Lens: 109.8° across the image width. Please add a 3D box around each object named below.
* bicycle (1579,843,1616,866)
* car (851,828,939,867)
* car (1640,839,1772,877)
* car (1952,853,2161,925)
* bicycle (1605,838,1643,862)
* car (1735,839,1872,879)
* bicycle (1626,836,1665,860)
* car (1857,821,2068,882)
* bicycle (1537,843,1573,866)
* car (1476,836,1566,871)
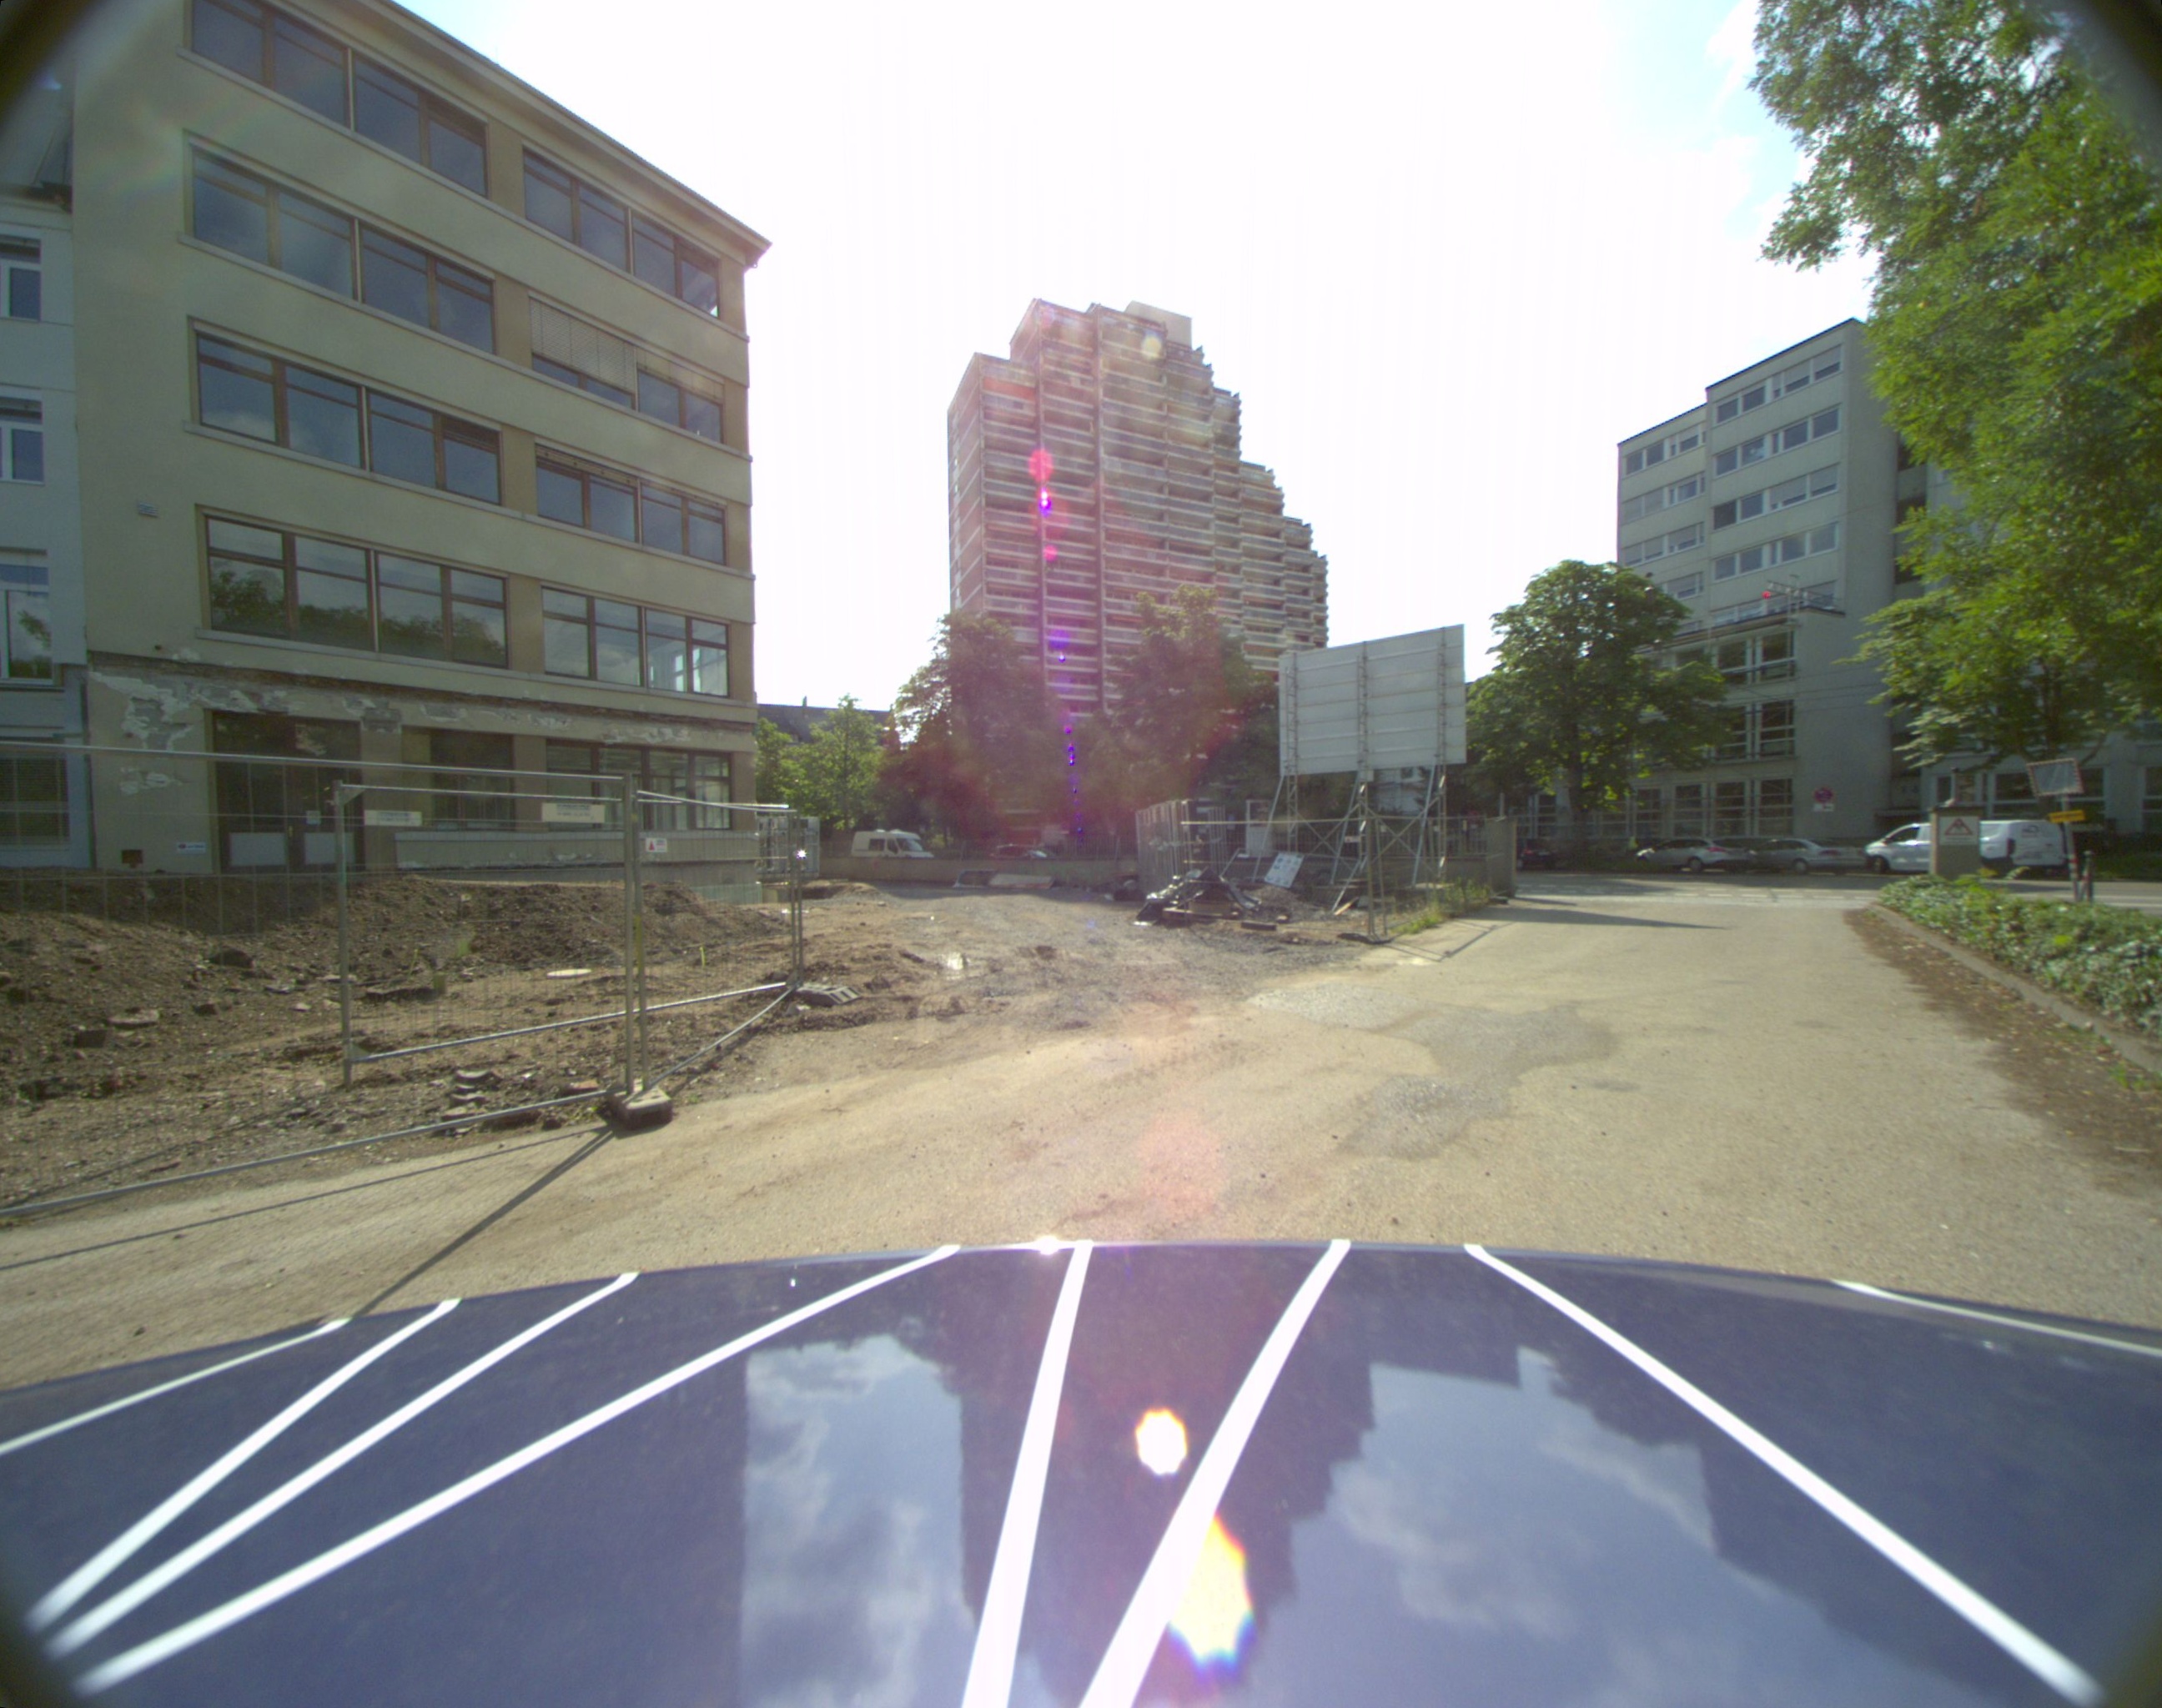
[{"bbox_3d":[27.803,0.018,40.893,2.057,1.080,0.496,-5,0,-20],"label":"bicycle"},{"bbox_3d":[-10.217,-0.360,41.485,5.293,2.002,2.004,0,1,42],"label":"car"},{"bbox_3d":[26.183,0.191,32.039,1.783,1.455,4.234,1,-1,-6],"label":"car"},{"bbox_3d":[33.170,1.065,25.773,1.902,1.986,4.572,-5,1,-1],"label":"car"},{"bbox_3d":[28.258,-0.211,39.521,2.057,1.080,0.496,-5,0,-20],"label":"bicycle"},{"bbox_3d":[28.438,0.177,30.099,1.725,1.467,3.782,0,0,-3],"label":"car"},{"bbox_3d":[28.832,-0.308,38.778,2.057,1.080,0.496,-5,0,-20],"label":"bicycle"},{"bbox_3d":[30.883,-0.114,26.888,1.931,1.901,4.640,2,1,-1],"label":"car"},{"bbox_3d":[26.669,0.020,42.703,2.057,1.080,0.496,-5,0,-20],"label":"bicycle"},{"bbox_3d":[20.961,-0.003,36.390,1.759,1.453,3.999,-5,0,-2],"label":"car"}]
